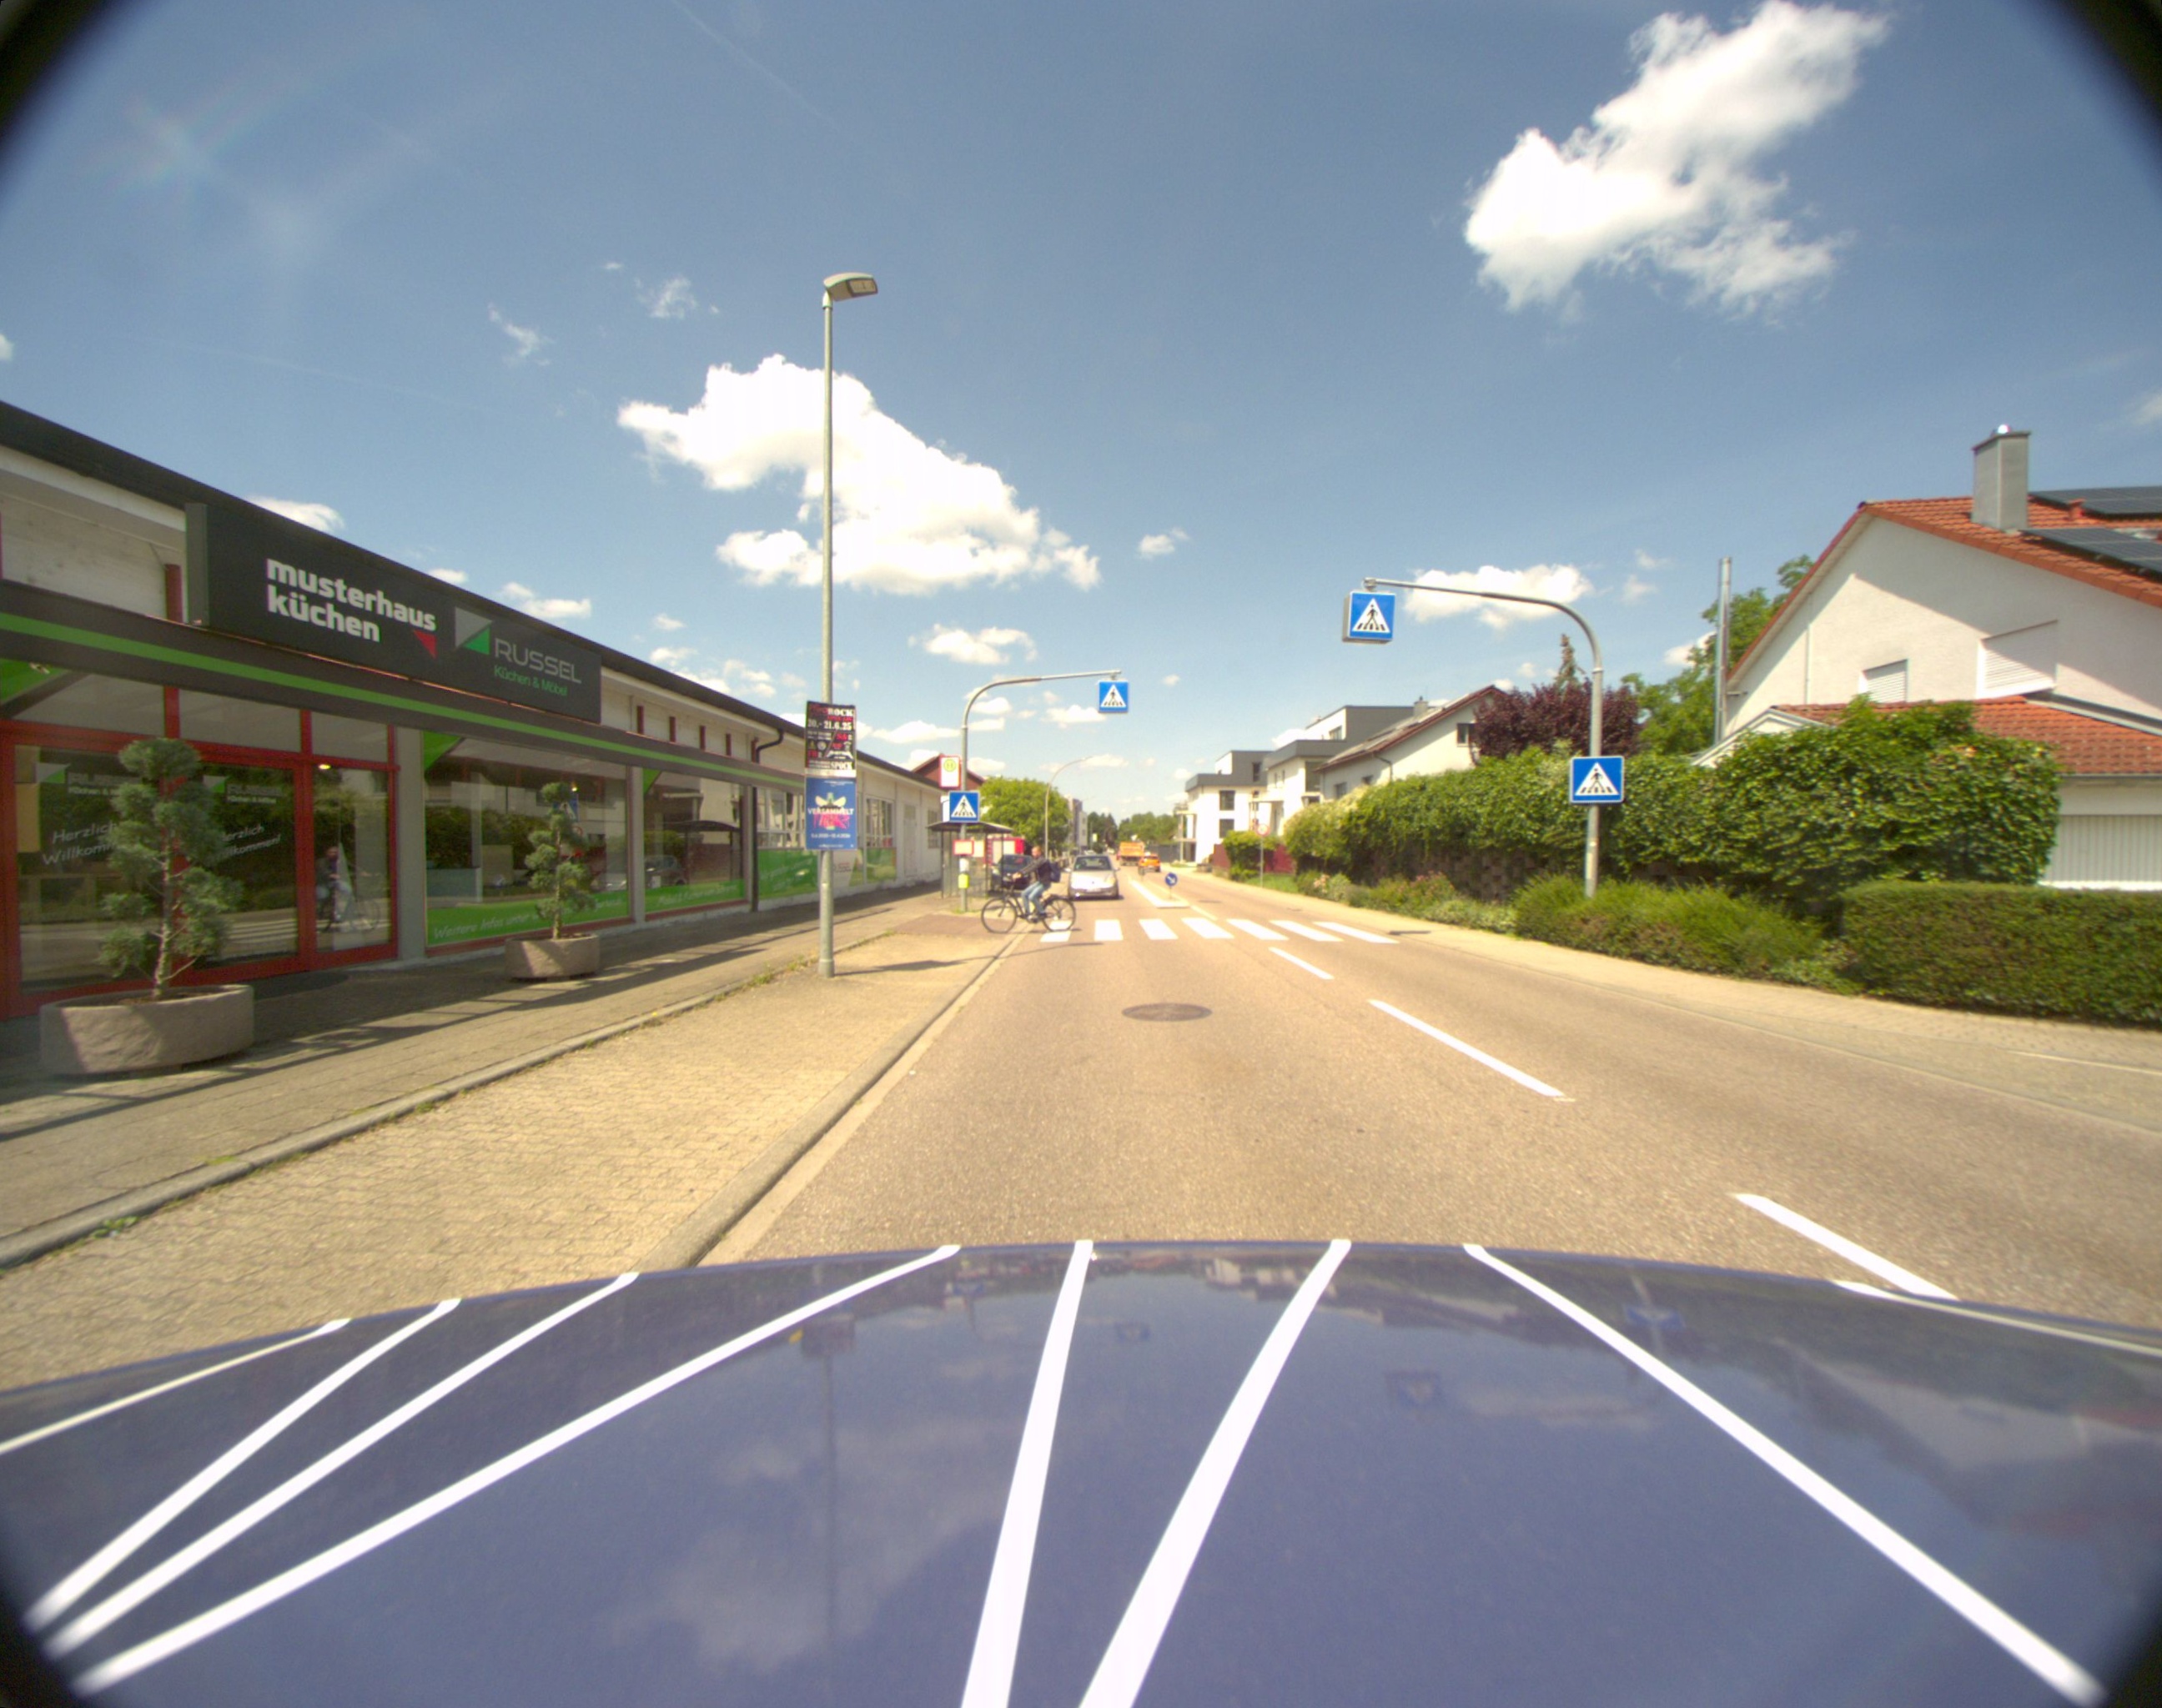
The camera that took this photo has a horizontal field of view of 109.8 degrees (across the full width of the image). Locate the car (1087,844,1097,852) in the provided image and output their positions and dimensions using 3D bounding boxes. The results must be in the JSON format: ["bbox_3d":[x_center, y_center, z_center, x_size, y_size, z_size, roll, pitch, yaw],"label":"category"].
[{"bbox_3d":[2.129,-1.157,143.450,1.729,1.484,3.760,1,1,2],"label":"car"}]

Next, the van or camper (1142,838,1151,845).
[{"bbox_3d":[20.120,-3.820,233.858,1.995,2.217,4.453,2,1,15],"label":"van or camper"}]

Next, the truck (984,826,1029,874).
[{"bbox_3d":[-4.587,-0.250,47.684,2.580,2.745,6.331,1,1,-5],"label":"truck"}]

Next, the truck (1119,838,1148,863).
[{"bbox_3d":[5.936,-0.477,86.995,2.864,2.695,6.790,1,1,1],"label":"truck"}]

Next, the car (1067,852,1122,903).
[{"bbox_3d":[0.475,0.774,26.715,1.723,1.590,3.760,-2,1,1],"label":"car"}]

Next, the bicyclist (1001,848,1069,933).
[{"bbox_3d":[-0.912,0.699,15.078,1.113,1.620,0.804,0,1,-26],"label":"bicyclist"}]

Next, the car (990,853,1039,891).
[{"bbox_3d":[-2.797,0.711,32.640,1.729,1.484,3.760,1,1,1],"label":"car"}]

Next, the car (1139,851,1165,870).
[{"bbox_3d":[5.879,0.500,63.258,1.799,1.480,3.613,1,1,1],"label":"car"}]

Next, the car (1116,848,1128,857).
[{"bbox_3d":[6.571,-0.247,122.865,1.735,1.509,3.613,1,1,1],"label":"car"}]

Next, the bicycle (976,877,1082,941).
[{"bbox_3d":[-1.026,1.060,15.089,1.946,1.158,0.804,0,1,-26],"label":"bicycle"}]
